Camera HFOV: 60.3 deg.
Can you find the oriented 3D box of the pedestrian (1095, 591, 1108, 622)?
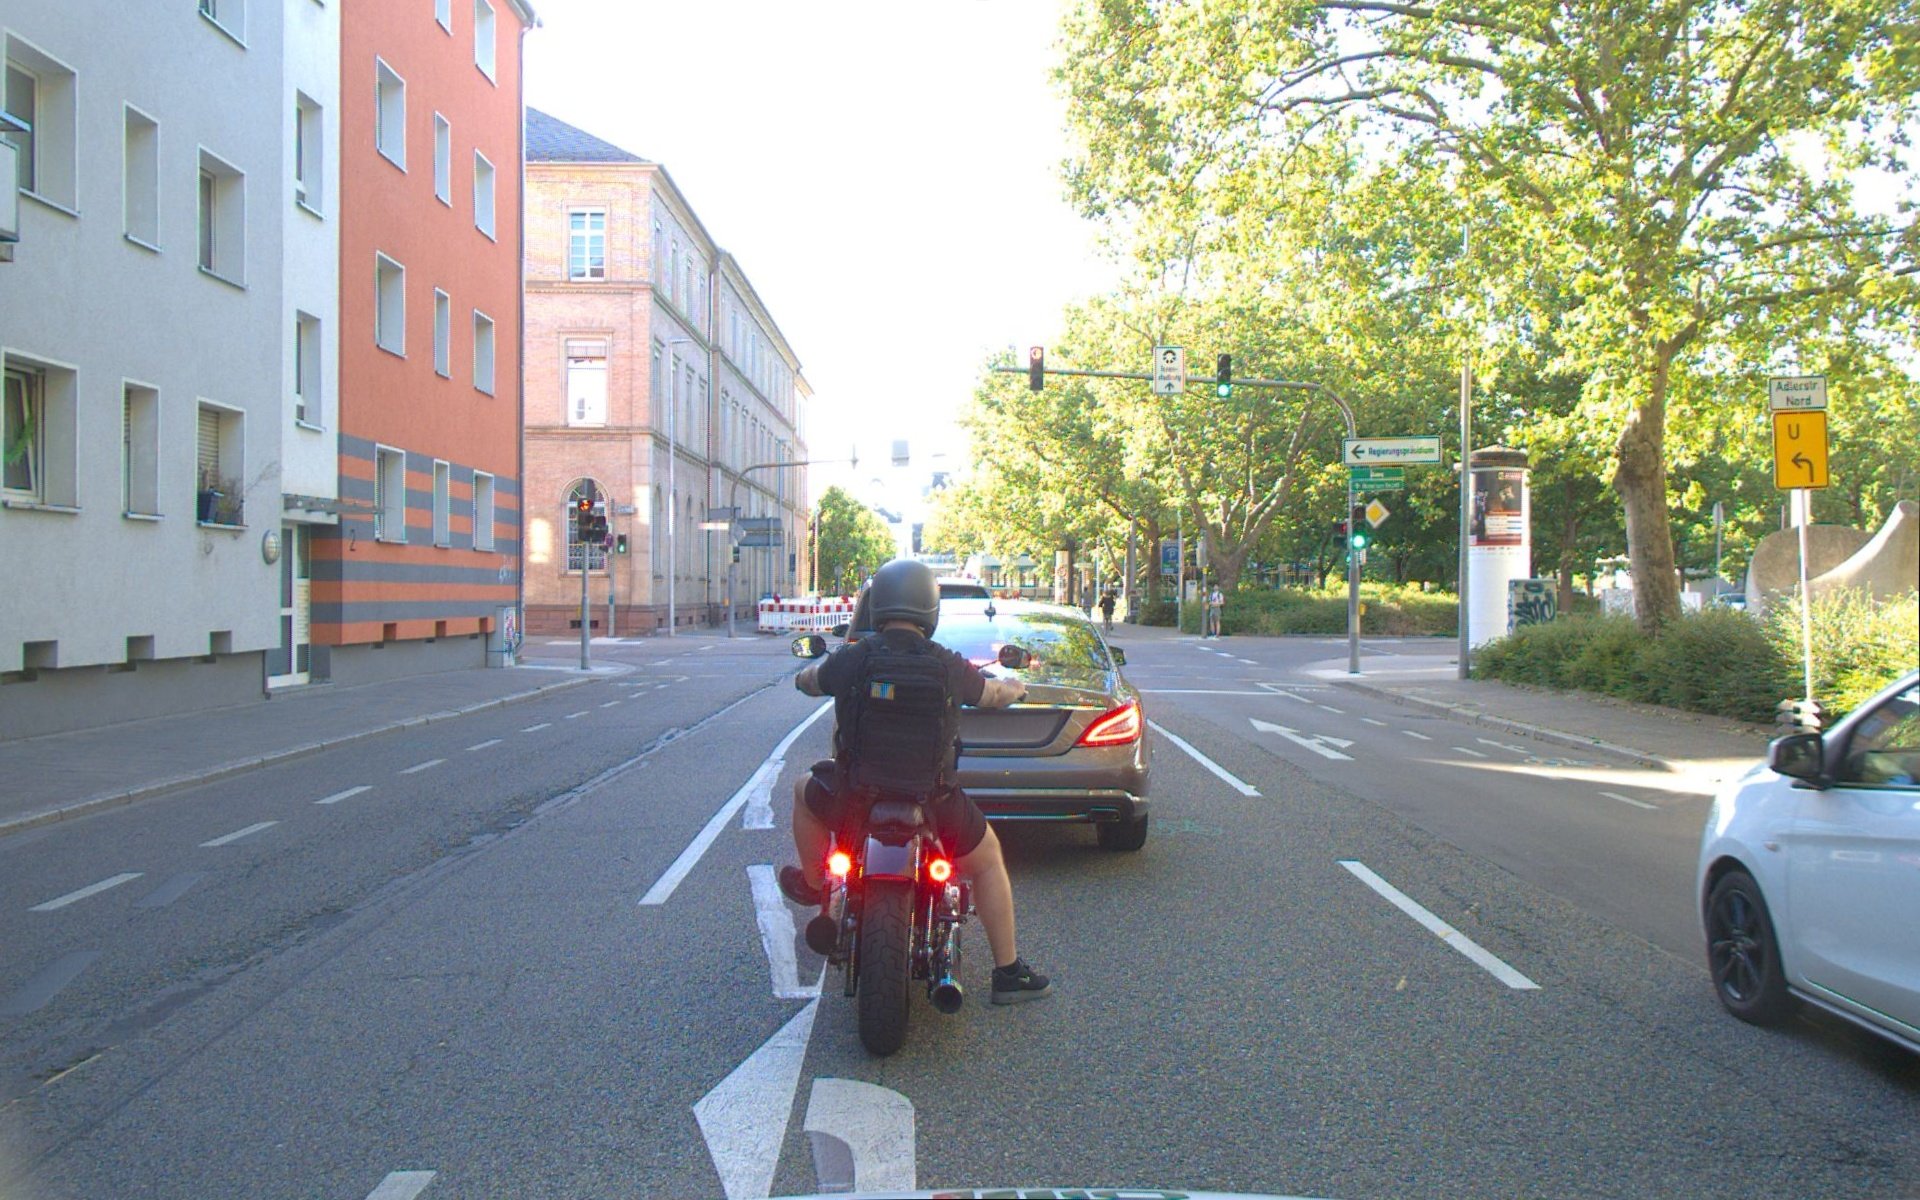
[{"bbox_3d":[7.366,0.334,86.013,0.580,1.606,0.527,2,0,-1],"label":"pedestrian"}]

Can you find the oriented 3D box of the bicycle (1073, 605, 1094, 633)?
[{"bbox_3d":[5.154,0.778,69.230,0.643,1.131,2.185,2,0,-1],"label":"bicycle"}]

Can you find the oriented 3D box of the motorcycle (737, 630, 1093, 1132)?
[{"bbox_3d":[-0.146,0.806,5.952,0.991,1.329,2.672,0,0,-1],"label":"motorcycle"}]

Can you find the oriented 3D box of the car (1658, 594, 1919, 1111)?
[{"bbox_3d":[3.673,0.768,4.871,1.644,1.524,3.685,2,0,0],"label":"car"}]

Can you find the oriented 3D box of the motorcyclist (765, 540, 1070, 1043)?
[{"bbox_3d":[-0.148,0.615,6.071,0.991,1.630,1.406,0,0,-1],"label":"motorcyclist"}]

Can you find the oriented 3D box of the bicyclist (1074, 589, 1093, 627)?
[{"bbox_3d":[5.163,0.342,69.208,0.643,1.557,0.906,2,0,-1],"label":"bicyclist"}]

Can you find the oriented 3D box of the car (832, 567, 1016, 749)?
[{"bbox_3d":[-0.480,0.551,17.547,1.599,1.679,3.845,2,0,-6],"label":"car"}]

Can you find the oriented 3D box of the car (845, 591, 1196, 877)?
[{"bbox_3d":[0.281,0.681,10.394,1.791,1.445,3.814,1,0,-1],"label":"car"}]

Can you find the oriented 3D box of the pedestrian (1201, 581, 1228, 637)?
[{"bbox_3d":[8.305,0.303,54.058,0.566,1.805,0.618,2,0,-35],"label":"pedestrian"}]

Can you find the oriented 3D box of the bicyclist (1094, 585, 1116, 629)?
[{"bbox_3d":[5.216,0.249,59.513,0.643,1.557,0.852,2,0,-1],"label":"bicyclist"}]

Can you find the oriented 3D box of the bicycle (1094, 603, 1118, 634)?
[{"bbox_3d":[5.224,0.654,59.413,0.643,1.089,1.926,2,0,-1],"label":"bicycle"}]
